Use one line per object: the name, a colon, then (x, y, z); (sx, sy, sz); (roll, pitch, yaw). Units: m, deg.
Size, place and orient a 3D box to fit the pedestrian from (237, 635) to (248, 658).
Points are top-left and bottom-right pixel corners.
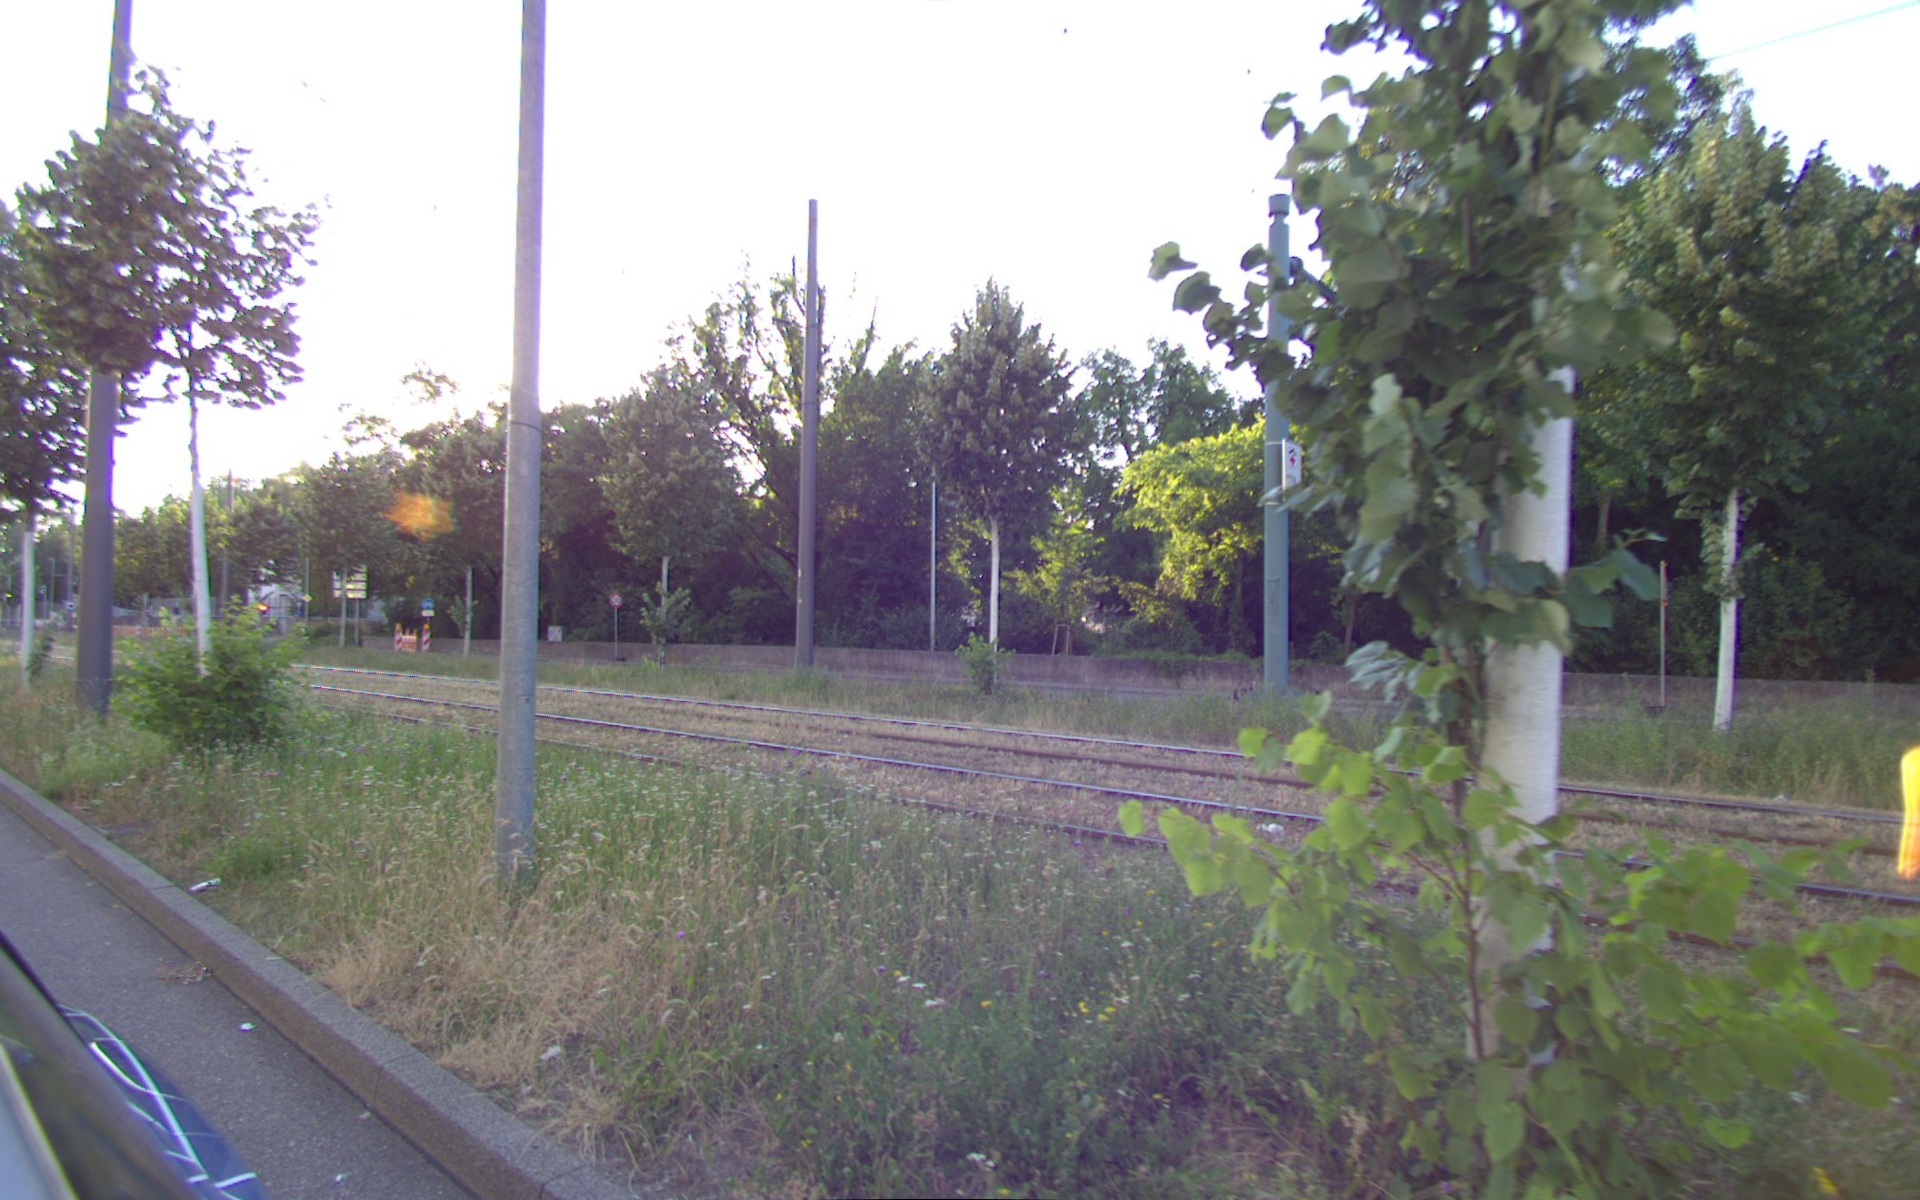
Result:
pedestrian: (-52.650, 3.428, 74.255); (0.660, 1.620, 0.679); (-1, -5, -37)
